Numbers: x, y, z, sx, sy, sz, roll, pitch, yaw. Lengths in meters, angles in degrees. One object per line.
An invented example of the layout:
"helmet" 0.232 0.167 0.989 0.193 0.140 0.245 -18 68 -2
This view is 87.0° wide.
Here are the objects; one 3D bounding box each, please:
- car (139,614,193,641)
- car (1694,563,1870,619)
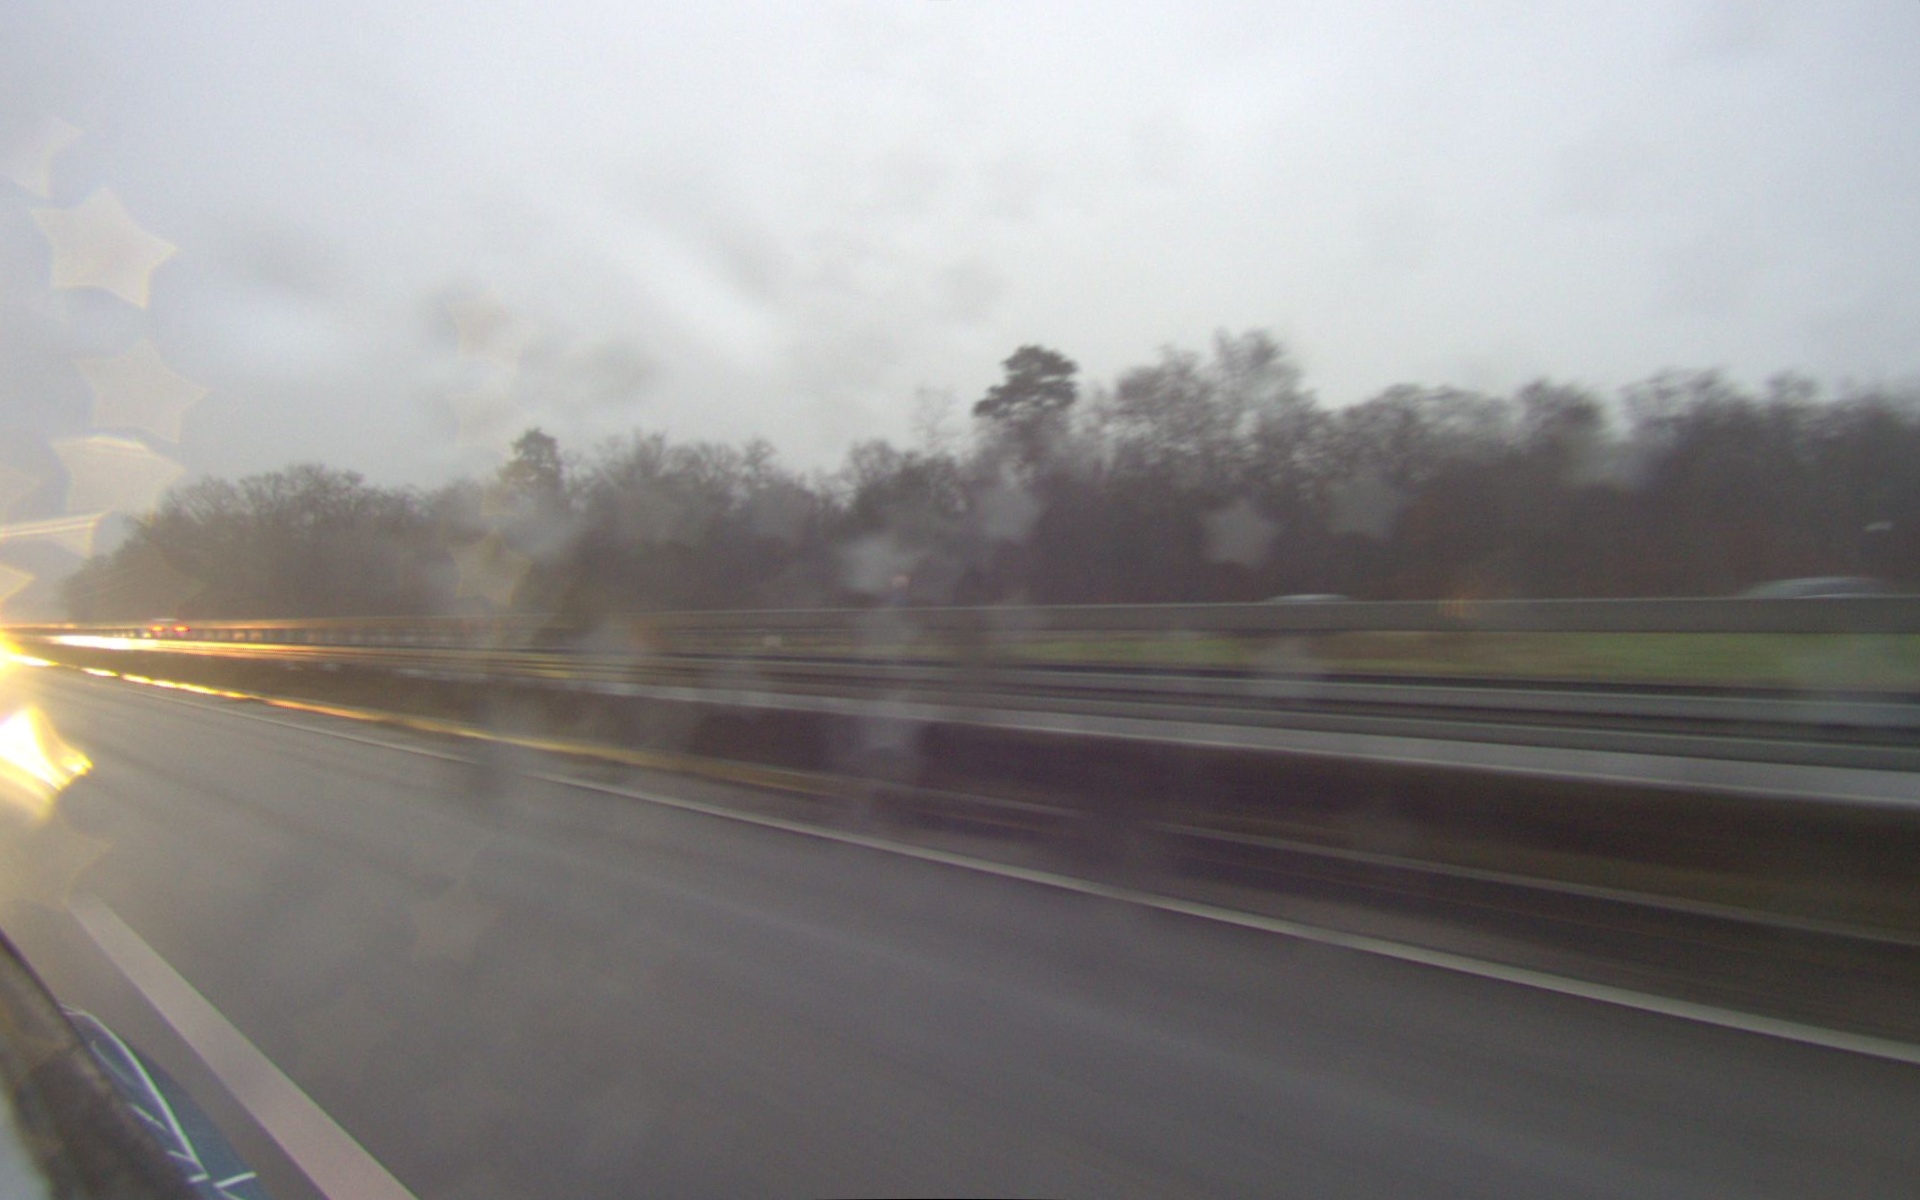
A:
"car" -51.895 1.784 66.118 4.958 1.601 1.972 -1 0 42
"car" 26.754 -0.274 33.082 3.955 1.724 1.994 -1 0 10
